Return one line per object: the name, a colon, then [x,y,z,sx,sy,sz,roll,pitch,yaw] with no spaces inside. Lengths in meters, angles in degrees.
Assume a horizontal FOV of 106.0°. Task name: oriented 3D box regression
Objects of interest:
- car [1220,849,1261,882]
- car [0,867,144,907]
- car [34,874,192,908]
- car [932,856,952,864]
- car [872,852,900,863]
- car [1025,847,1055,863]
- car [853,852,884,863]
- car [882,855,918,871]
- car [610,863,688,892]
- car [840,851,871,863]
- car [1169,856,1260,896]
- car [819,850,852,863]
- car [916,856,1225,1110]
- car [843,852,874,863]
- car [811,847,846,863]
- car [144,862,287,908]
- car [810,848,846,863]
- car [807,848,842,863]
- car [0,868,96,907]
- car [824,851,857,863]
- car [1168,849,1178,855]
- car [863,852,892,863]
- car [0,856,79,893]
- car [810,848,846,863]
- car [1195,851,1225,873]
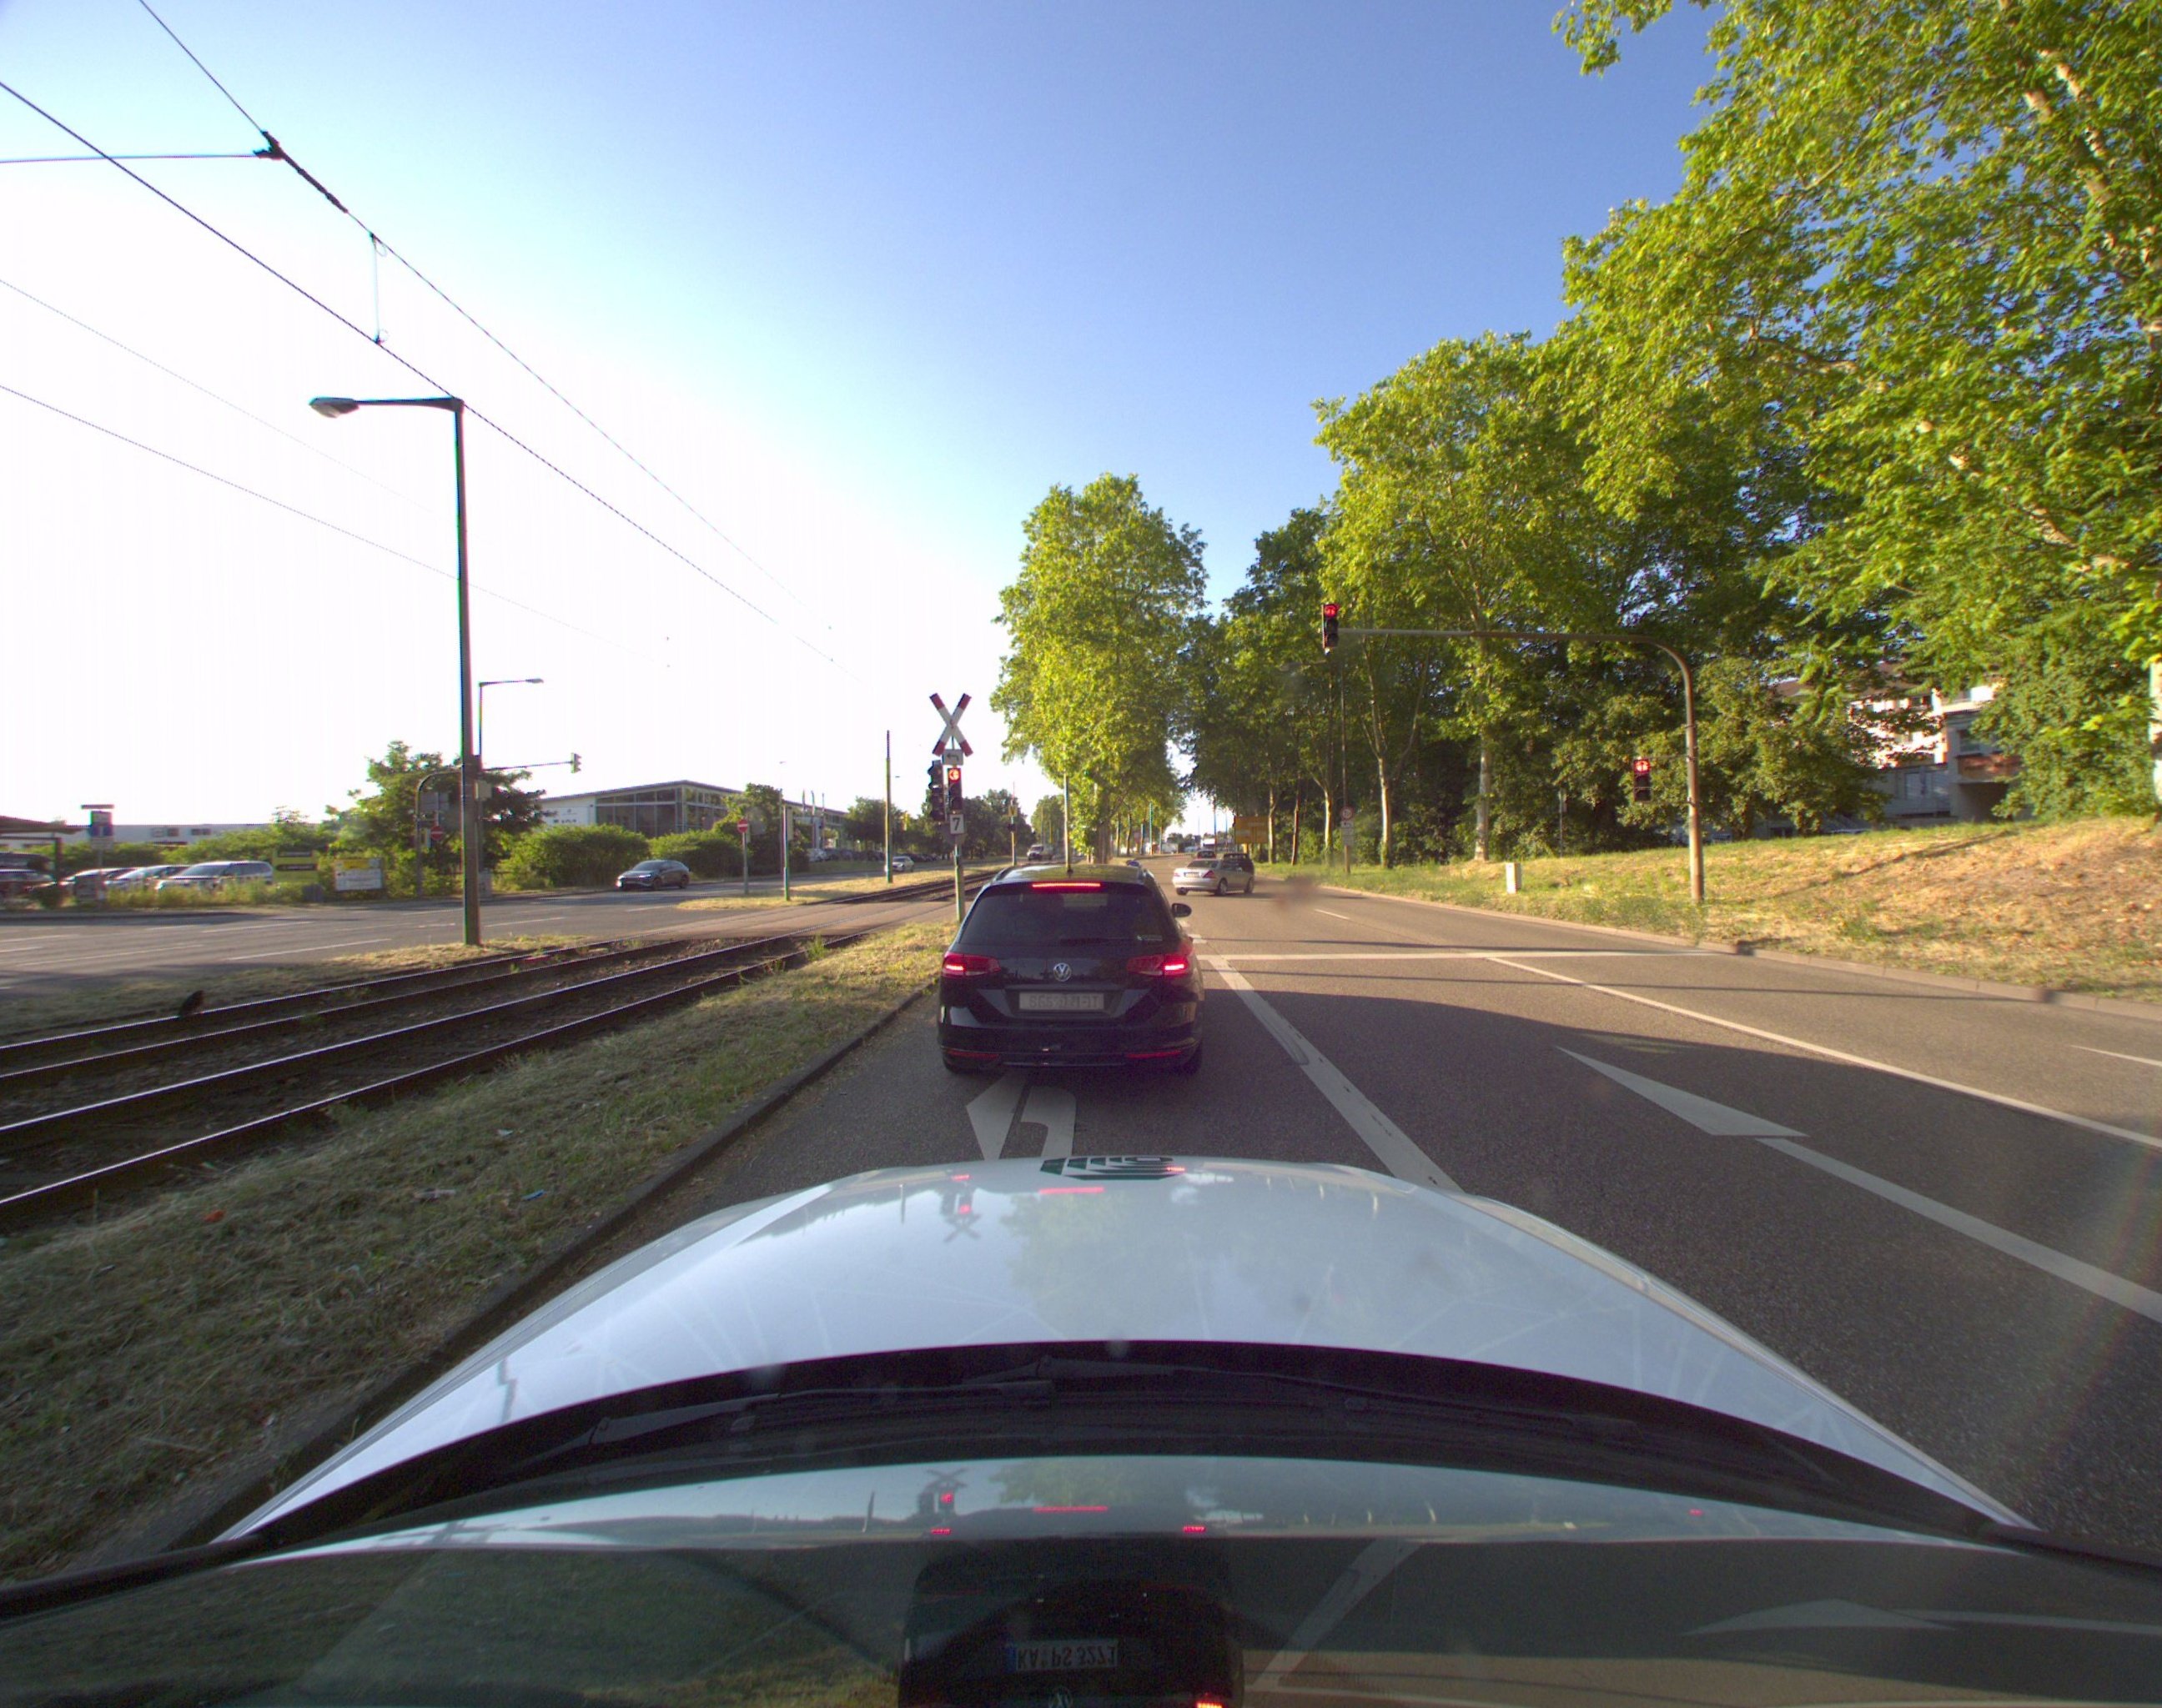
car: [8.082,0.553,41.518,1.698,1.561,4.174,-1,0,7]
car: [-44.708,1.412,35.900,1.855,1.583,4.174,0,0,2]
car: [-42.468,1.571,35.896,1.855,1.267,4.174,0,0,2]
car: [-28.809,1.192,168.928,3.977,1.556,1.742,-1,0,-2]
car: [-30.117,0.597,125.955,3.978,1.621,1.742,-1,0,-3]
car: [-6.168,0.137,123.905,2.076,2.461,5.885,0,0,23]
car: [-31.003,0.528,118.833,3.980,1.556,1.741,-1,0,-5]
car: [-17.311,0.842,78.032,1.850,1.481,4.104,0,0,11]
car: [-23.787,1.257,45.022,1.854,1.481,4.176,0,0,3]
car: [-31.226,0.445,112.614,3.999,1.556,1.732,-1,0,-19]
car: [4.832,0.727,28.996,1.593,1.294,4.008,0,0,35]
car: [-31.149,0.308,103.425,3.999,1.556,1.732,-1,0,-19]
car: [-0.016,0.757,6.531,1.788,1.464,3.584,0,0,1]
car: [-31.435,0.483,115.321,3.983,1.556,1.739,-1,0,-7]
car: [-30.601,0.136,98.745,3.999,1.816,1.732,-1,0,-19]
car: [-38.521,1.330,36.418,1.855,1.821,4.174,0,0,2]
car: [-29.949,0.171,96.391,3.999,1.704,1.732,-1,0,-19]
car: [-31.643,0.138,100.526,3.999,1.816,1.732,-1,0,-19]
car: [-47.157,1.461,36.052,1.970,1.583,4.174,0,0,2]
car: [-31.363,0.353,106.216,3.999,1.556,1.732,-1,0,-19]
car: [25.705,-0.566,228.689,1.990,1.420,3.993,-1,0,-5]
car: [-30.606,0.553,122.754,3.978,1.621,1.742,-1,0,-3]
car: [-60.419,1.164,45.912,1.855,2.014,4.773,0,0,2]
car: [-29.259,0.153,94.122,3.999,1.704,1.732,-1,0,-19]
car: [10.144,0.640,64.323,1.864,1.635,4.373,-1,0,3]
